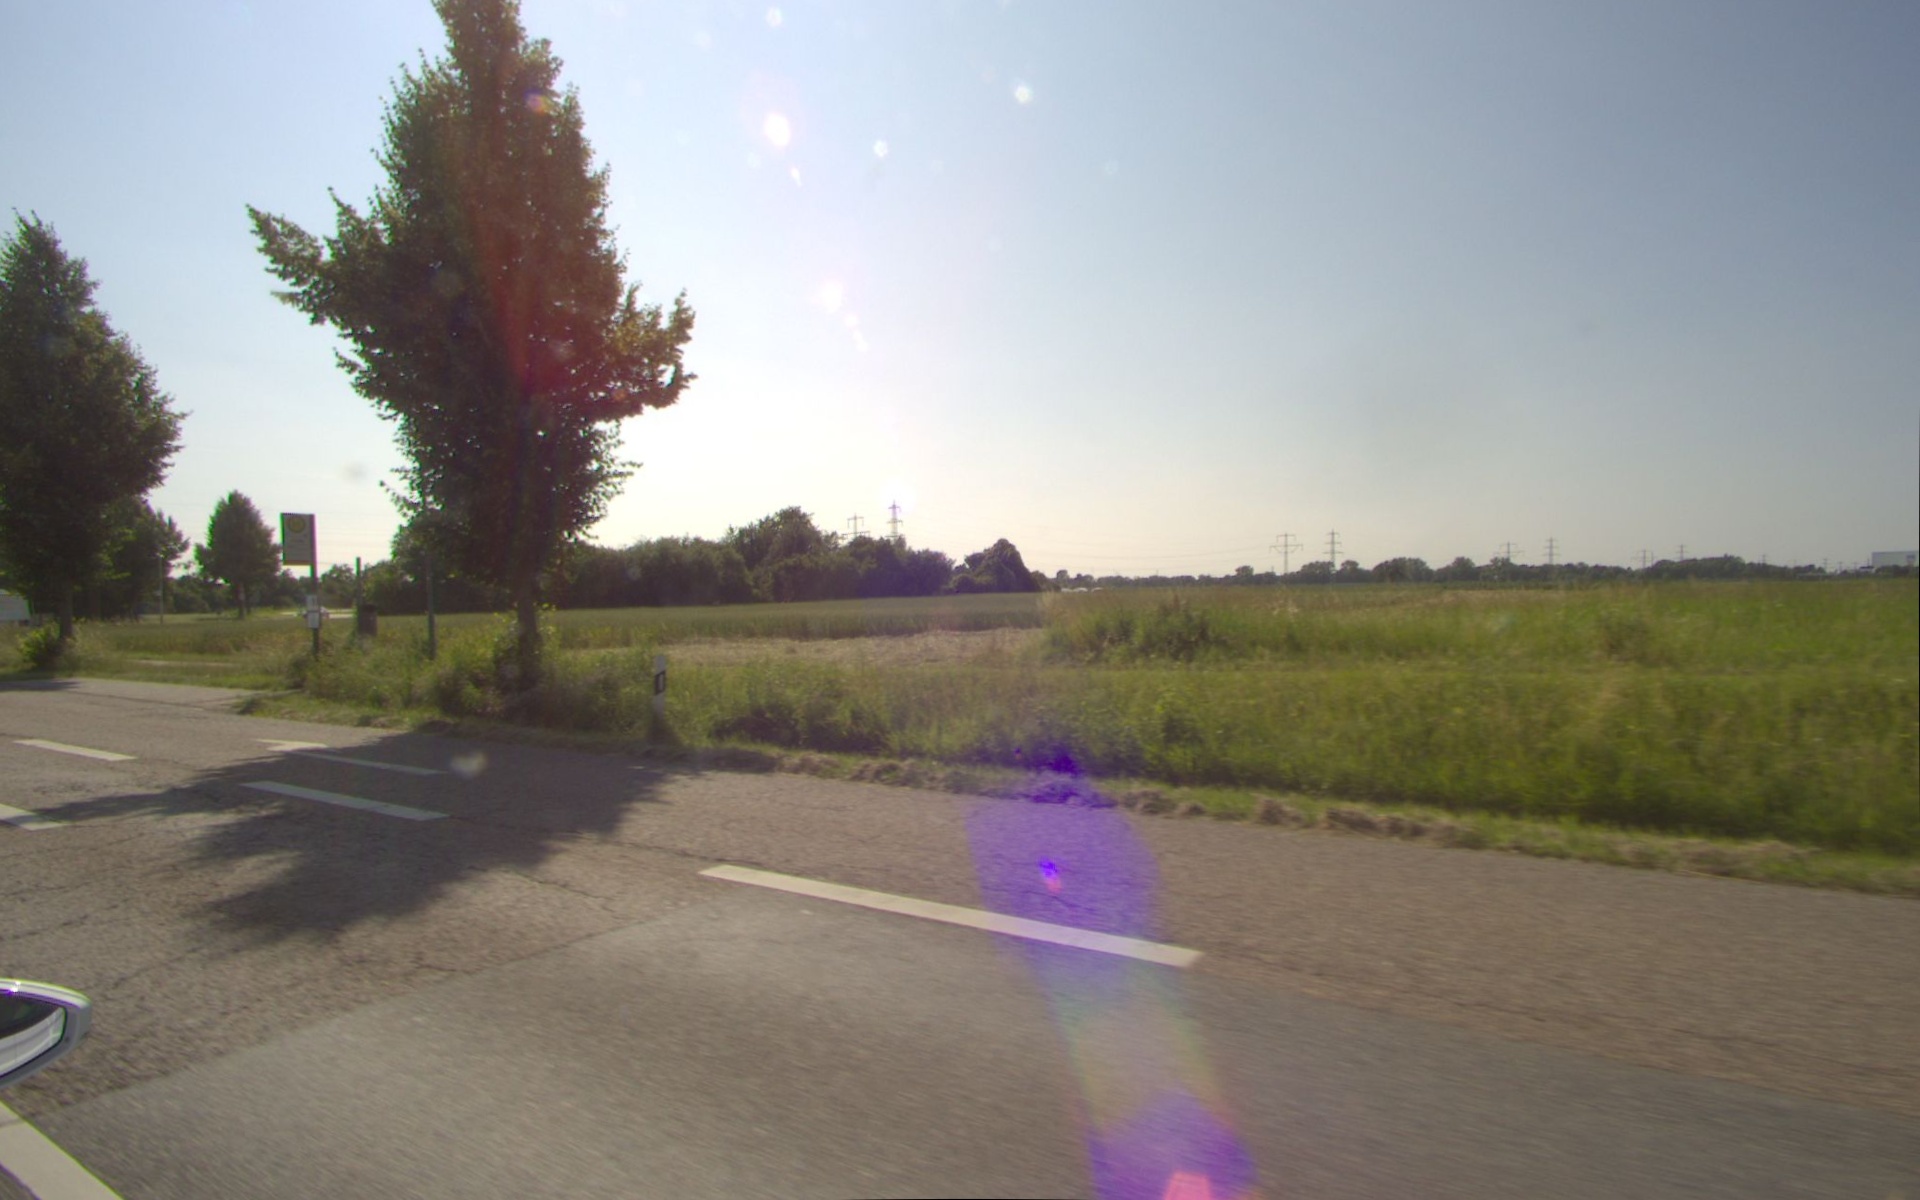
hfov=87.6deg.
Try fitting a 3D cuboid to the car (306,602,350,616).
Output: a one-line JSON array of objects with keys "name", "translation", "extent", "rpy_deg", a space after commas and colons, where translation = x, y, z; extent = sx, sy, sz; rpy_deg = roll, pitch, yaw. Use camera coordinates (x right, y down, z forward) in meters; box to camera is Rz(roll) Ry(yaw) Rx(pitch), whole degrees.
[{"name": "car", "translation": [-65.858, 0.906, 104.401], "extent": [1.649, 1.417, 3.997], "rpy_deg": [0, 0, 10]}]

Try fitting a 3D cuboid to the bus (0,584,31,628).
[{"name": "bus", "translation": [-66.739, 0.485, 63.247], "extent": [2.889, 2.916, 11.956], "rpy_deg": [-1, 1, 16]}]
